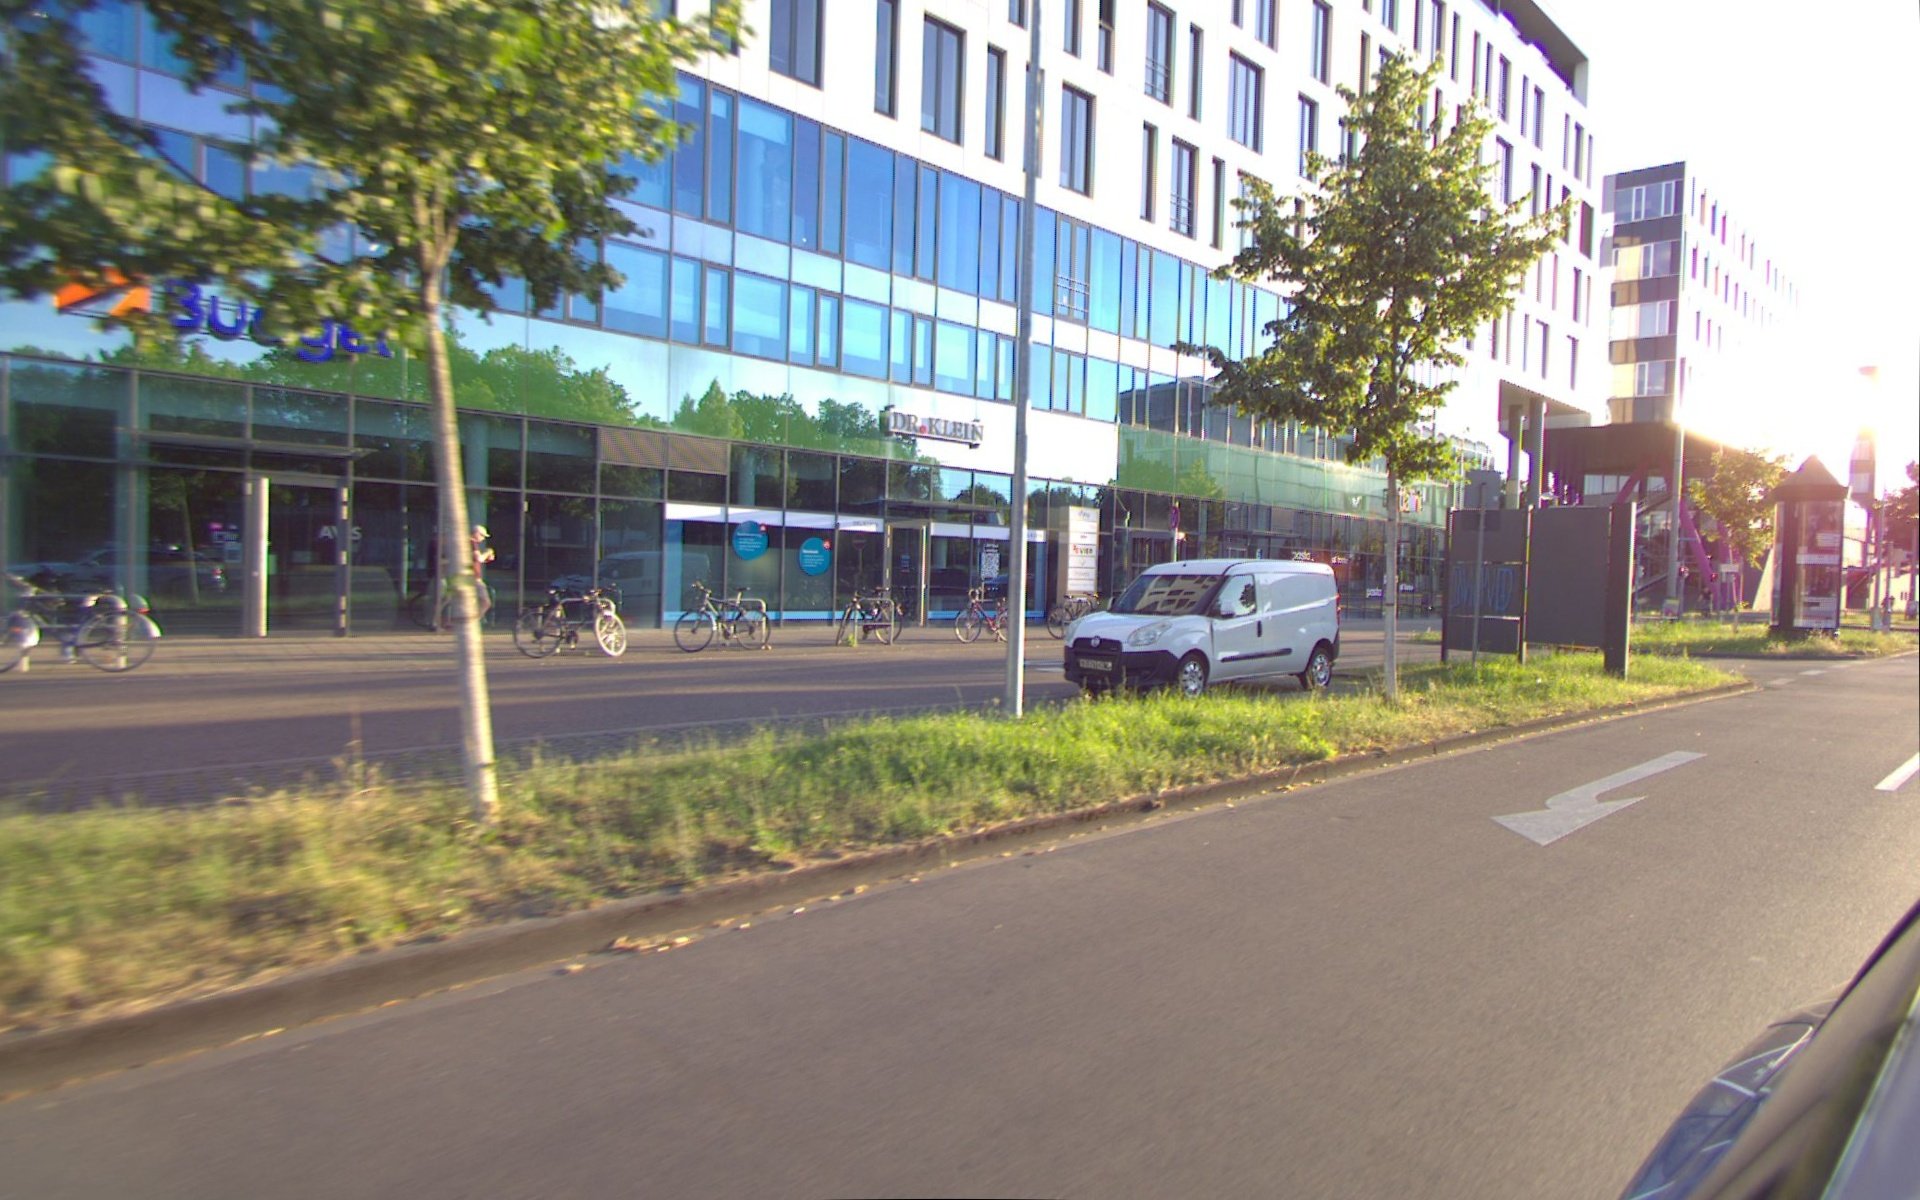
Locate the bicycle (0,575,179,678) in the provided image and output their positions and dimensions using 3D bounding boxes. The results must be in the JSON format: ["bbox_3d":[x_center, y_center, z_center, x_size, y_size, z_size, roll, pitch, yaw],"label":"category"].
[{"bbox_3d":[-10.027,0.275,11.262,0.597,1.053,2.041,5,3,43],"label":"bicycle"}]

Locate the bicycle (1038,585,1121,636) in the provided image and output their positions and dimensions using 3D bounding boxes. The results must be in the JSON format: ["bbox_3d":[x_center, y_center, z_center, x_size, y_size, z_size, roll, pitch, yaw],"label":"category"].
[{"bbox_3d":[2.670,0.245,22.577,1.838,1.053,0.532,2,3,-29],"label":"bicycle"}]

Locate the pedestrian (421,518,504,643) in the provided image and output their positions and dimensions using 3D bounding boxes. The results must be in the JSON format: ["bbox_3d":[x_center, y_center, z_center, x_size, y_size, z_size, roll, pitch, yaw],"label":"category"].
[{"bbox_3d":[-7.972,-0.318,16.202,0.931,1.906,1.028,1,1,-41],"label":"pedestrian"}]

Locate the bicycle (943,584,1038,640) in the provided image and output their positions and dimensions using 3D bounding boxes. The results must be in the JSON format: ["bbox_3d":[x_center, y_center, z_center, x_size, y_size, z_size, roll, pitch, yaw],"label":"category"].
[{"bbox_3d":[0.626,0.248,20.622,1.878,1.053,0.532,2,3,-29],"label":"bicycle"}]

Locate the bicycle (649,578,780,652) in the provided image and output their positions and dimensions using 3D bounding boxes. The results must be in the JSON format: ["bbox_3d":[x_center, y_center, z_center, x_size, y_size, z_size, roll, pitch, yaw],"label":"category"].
[{"bbox_3d":[-4.003,0.237,16.653,2.110,1.122,0.388,0,4,-41],"label":"bicycle"}]

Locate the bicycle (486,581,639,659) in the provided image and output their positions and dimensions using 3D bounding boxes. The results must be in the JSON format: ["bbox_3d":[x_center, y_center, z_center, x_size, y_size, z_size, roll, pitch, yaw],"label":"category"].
[{"bbox_3d":[-5.832,0.275,14.950,0.529,1.053,2.041,5,3,43],"label":"bicycle"}]

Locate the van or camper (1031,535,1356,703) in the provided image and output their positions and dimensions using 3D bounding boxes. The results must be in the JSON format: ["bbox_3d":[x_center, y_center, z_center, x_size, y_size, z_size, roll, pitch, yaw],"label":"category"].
[{"bbox_3d":[3.374,0.227,14.046,4.744,1.944,1.962,0,0,-40],"label":"van or camper"}]
